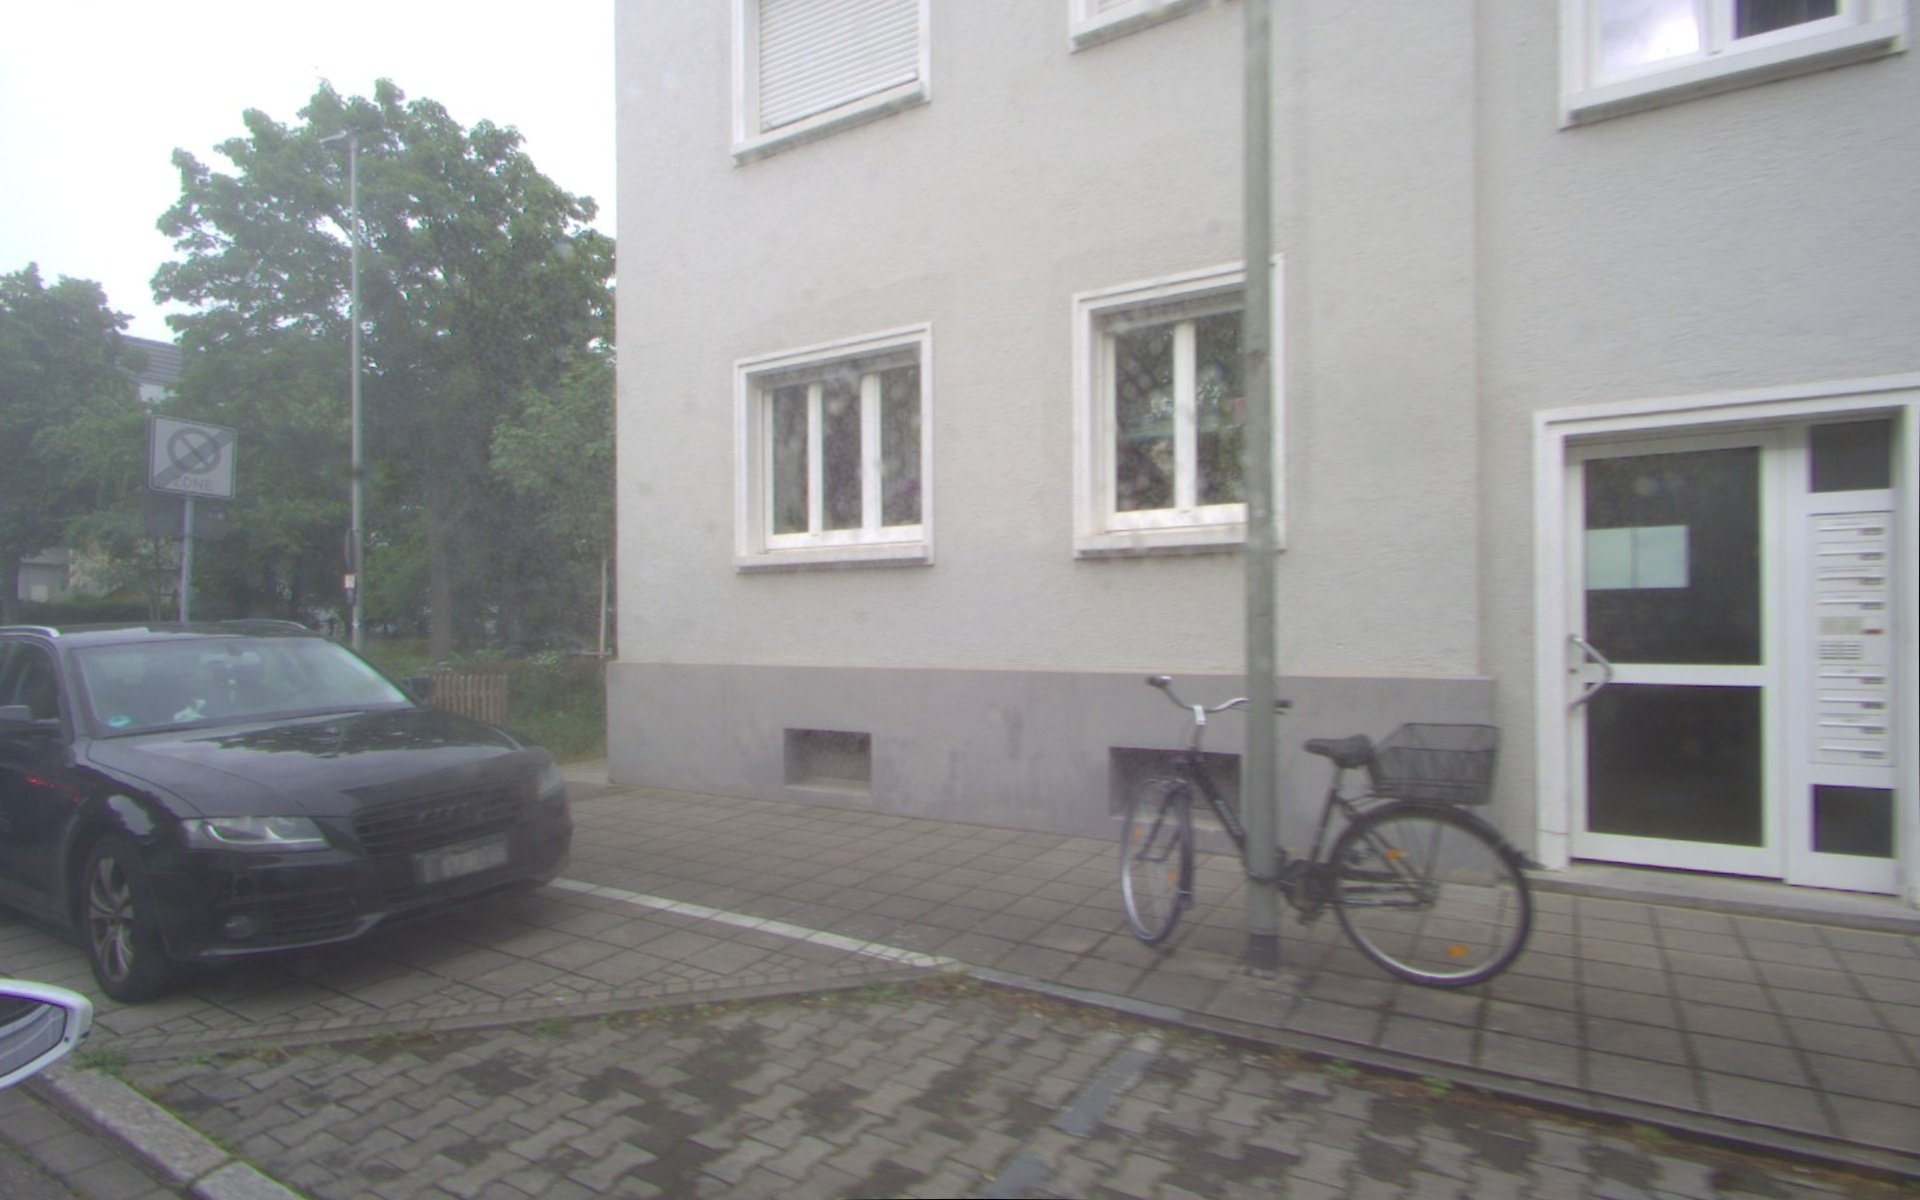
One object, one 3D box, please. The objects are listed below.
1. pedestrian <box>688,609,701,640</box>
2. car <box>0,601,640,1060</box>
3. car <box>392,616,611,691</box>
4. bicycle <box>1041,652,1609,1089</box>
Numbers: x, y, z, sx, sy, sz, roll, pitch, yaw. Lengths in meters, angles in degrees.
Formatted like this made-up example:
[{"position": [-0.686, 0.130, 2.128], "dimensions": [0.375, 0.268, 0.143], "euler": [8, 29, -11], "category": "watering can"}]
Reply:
[{"position": [-15.749, 1.456, 59.384], "dimensions": [0.537, 1.821, 0.568], "euler": [1, 0, 42], "category": "pedestrian"}, {"position": [-4.018, 0.774, 5.208], "dimensions": [4.655, 1.482, 1.858], "euler": [-1, 0, 30], "category": "car"}, {"position": [-9.967, 1.106, 22.071], "dimensions": [1.842, 1.481, 4.098], "euler": [0, -1, 30], "category": "car"}, {"position": [1.309, 0.842, 3.761], "dimensions": [1.868, 1.216, 0.747], "euler": [0, 1, 32], "category": "bicycle"}]
